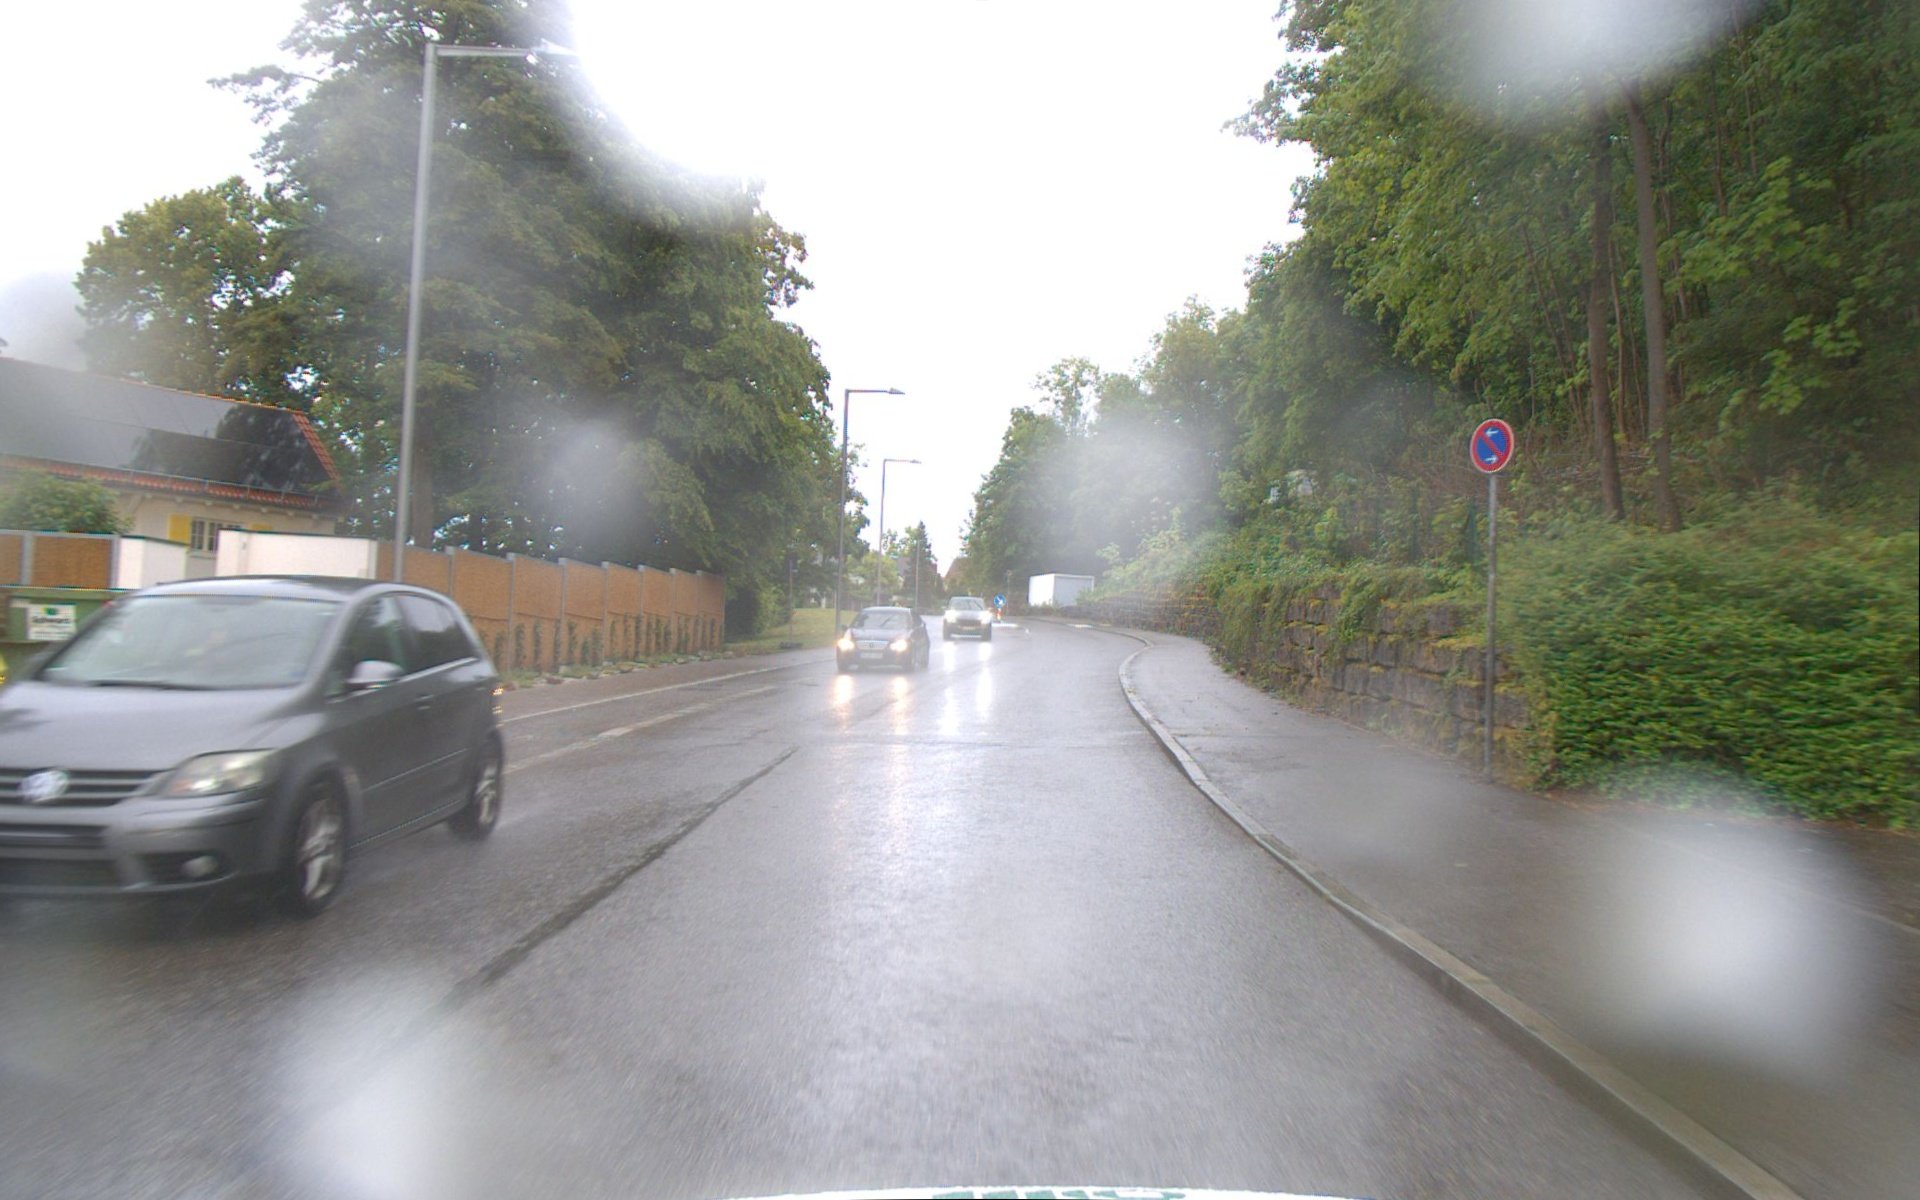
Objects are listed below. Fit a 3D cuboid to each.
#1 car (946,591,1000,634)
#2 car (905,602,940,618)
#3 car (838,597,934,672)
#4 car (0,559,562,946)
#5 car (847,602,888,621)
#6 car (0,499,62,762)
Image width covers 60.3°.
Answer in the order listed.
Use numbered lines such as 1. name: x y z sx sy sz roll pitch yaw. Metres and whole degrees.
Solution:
1. car: 0.570 0.497 67.927 1.878 1.676 4.549 1 0 4
2. car: -4.066 1.080 178.938 1.915 1.413 3.958 6 -2 -31
3. car: -1.613 0.742 37.377 1.796 1.538 4.170 2 0 2
4. car: -3.692 0.616 9.034 1.796 1.538 4.618 2 0 1
5. car: -9.571 1.215 170.472 1.999 1.660 3.935 6 -2 -45
6. car: -9.118 0.162 11.652 4.408 1.892 2.090 2 0 4
